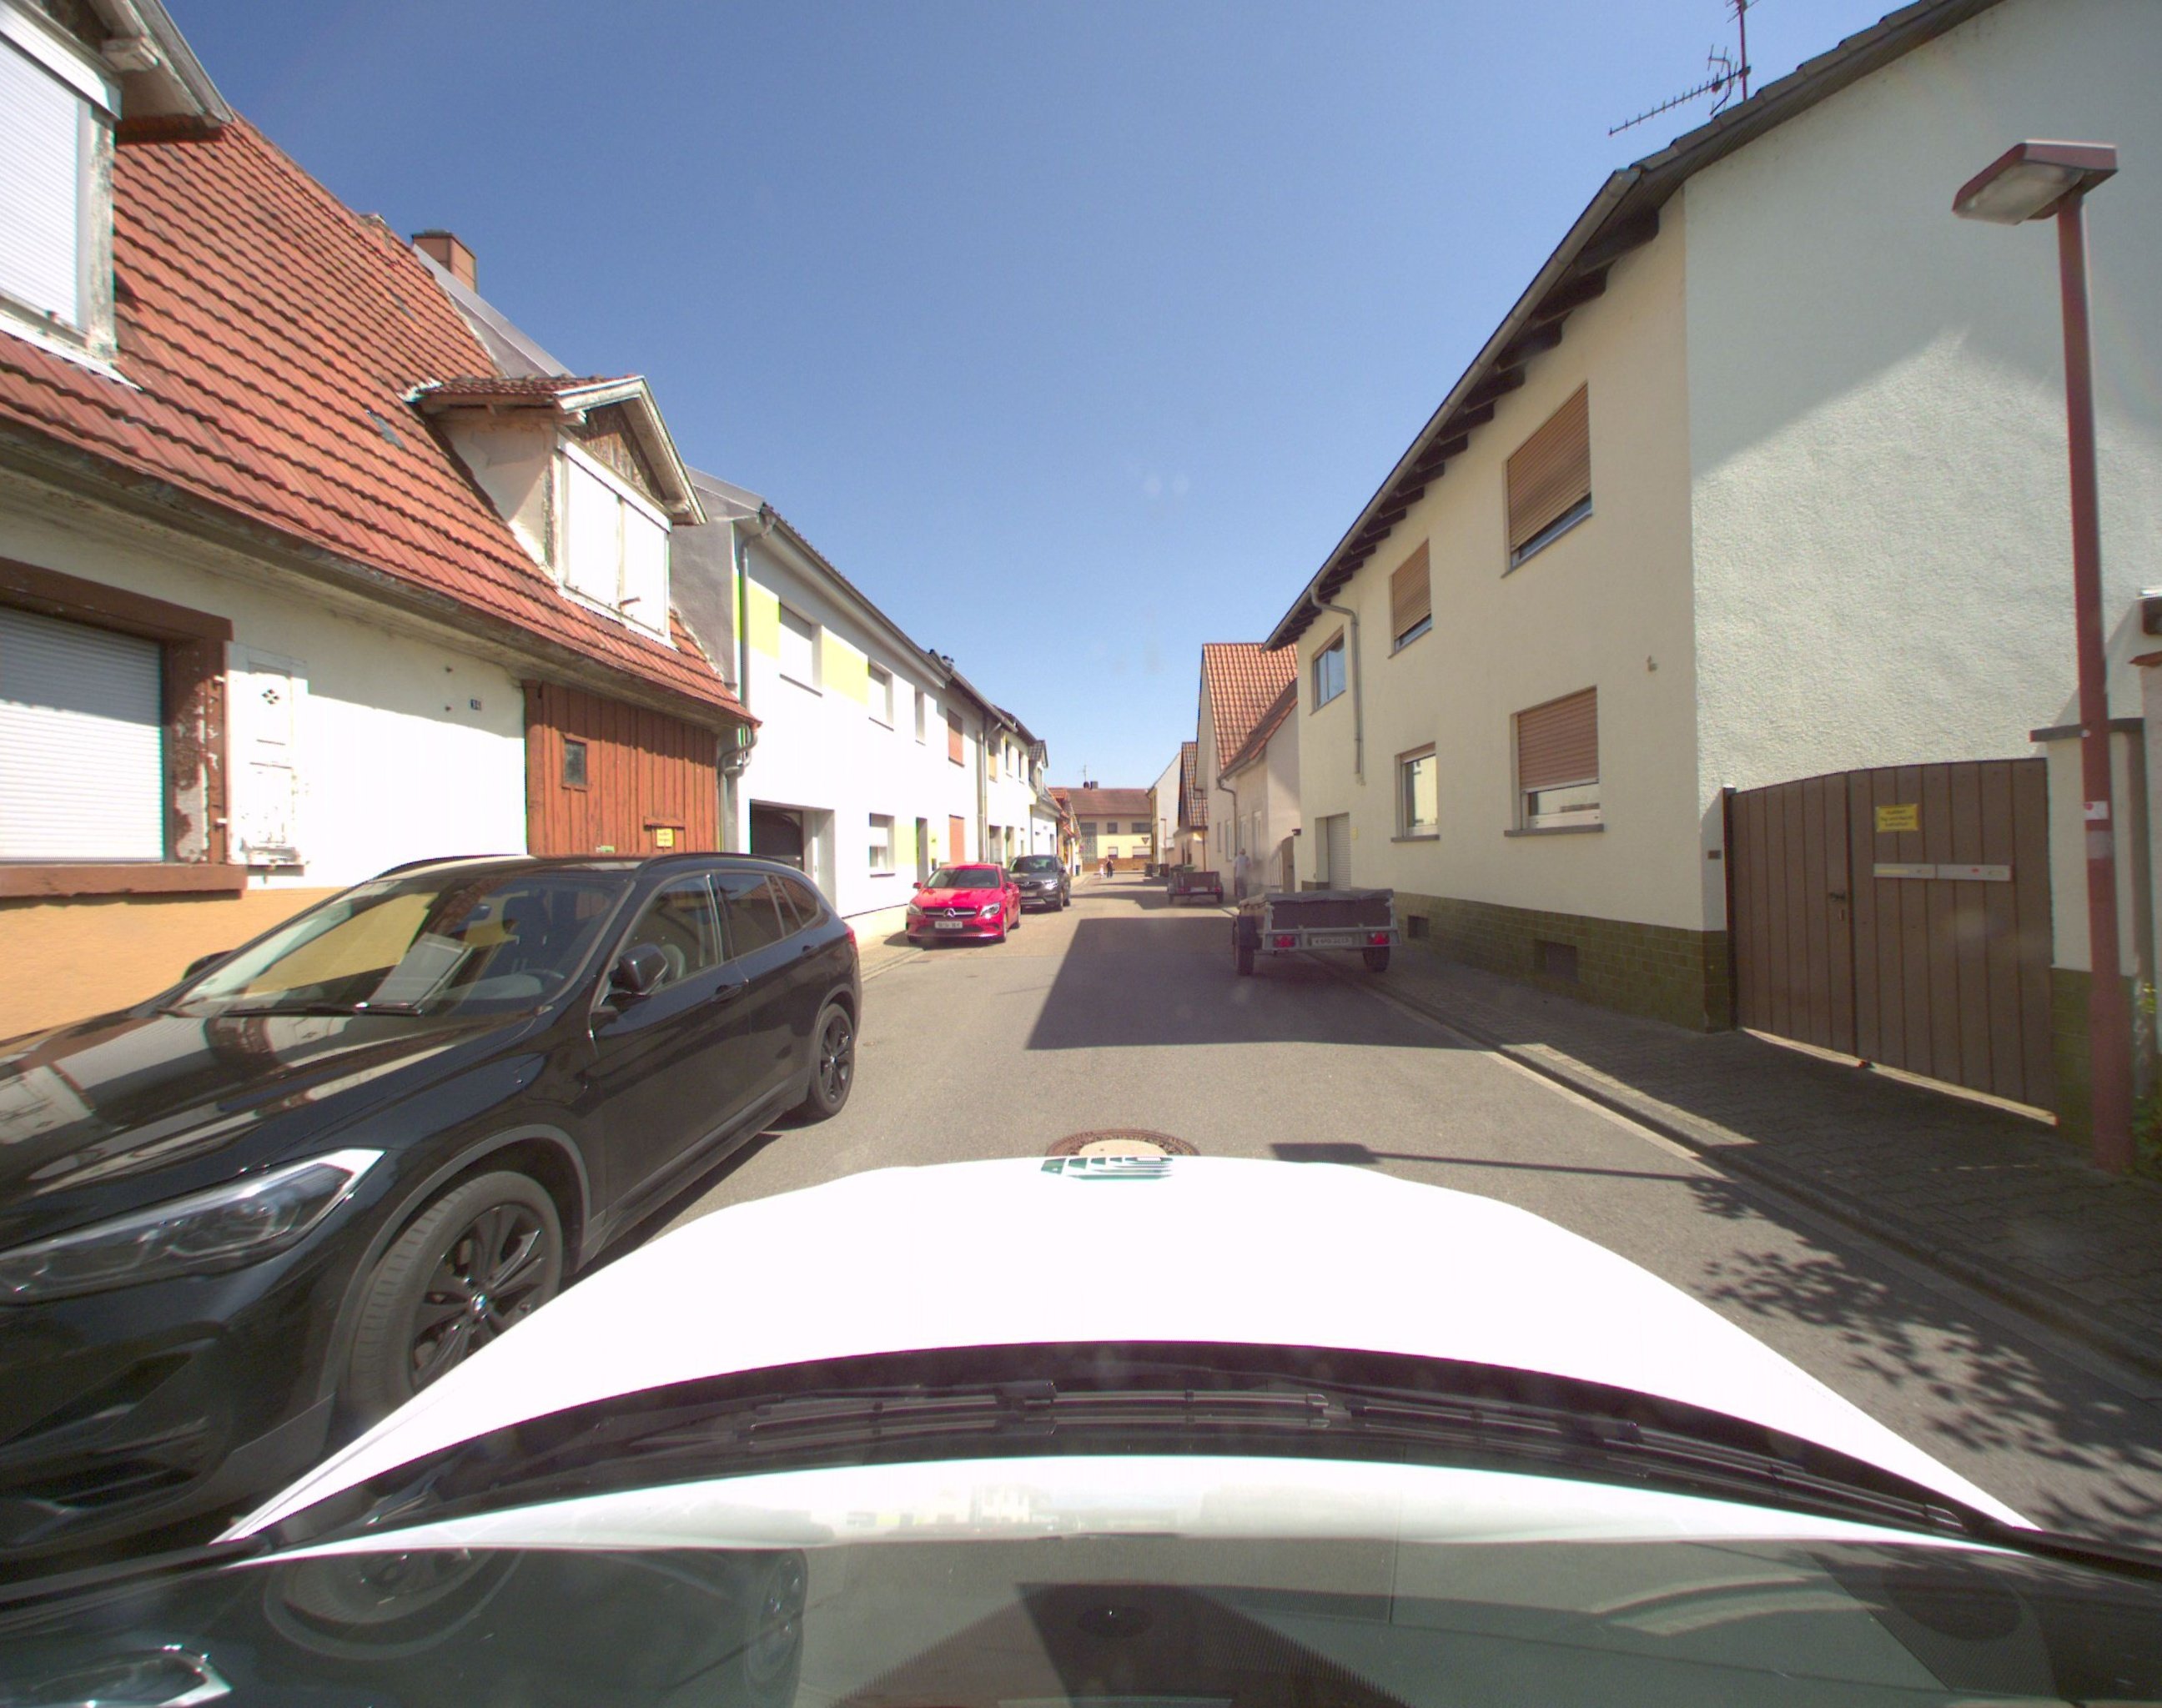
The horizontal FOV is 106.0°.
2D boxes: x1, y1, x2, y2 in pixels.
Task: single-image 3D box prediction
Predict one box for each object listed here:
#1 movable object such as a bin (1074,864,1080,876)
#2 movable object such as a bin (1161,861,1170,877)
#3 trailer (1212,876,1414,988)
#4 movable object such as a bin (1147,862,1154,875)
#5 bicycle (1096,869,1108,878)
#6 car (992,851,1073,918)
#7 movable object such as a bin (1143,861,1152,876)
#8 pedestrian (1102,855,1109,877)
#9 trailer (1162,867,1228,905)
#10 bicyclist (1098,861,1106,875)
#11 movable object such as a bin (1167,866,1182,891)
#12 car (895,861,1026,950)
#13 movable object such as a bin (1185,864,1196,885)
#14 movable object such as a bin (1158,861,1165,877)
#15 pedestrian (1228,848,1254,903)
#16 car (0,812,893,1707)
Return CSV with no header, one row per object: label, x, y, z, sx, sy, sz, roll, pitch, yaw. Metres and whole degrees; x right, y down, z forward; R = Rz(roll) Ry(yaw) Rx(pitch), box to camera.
movable object such as a bin,-0.307,1.322,66.656,0.447,0.921,0.404,-2,-1,0
movable object such as a bin,5.942,1.077,57.309,0.523,1.128,0.366,-2,-1,0
trailer,2.821,0.906,10.657,1.810,1.090,3.484,-1,0,3
movable object such as a bin,5.156,1.073,60.468,0.422,0.975,0.473,-2,-1,0
bicycle,1.493,1.387,58.038,0.443,0.567,0.931,-1,0,-26
car,-1.312,0.824,23.823,1.793,1.704,4.490,-3,-1,3
movable object such as a bin,4.978,1.062,61.083,0.567,1.128,0.453,-2,-1,0
pedestrian,1.793,0.883,58.904,0.411,1.610,0.367,-2,-1,-8
trailer,3.507,0.967,25.570,1.693,1.033,3.483,-1,0,3
bicyclist,1.481,1.017,58.090,0.464,0.959,0.349,-1,-2,-26
movable object such as a bin,4.085,1.067,35.564,0.582,1.033,0.596,-2,-1,1
car,-2.190,0.893,16.035,1.793,1.441,4.488,-2,-1,1
movable object such as a bin,5.656,1.051,41.986,0.456,1.087,0.502,-2,-1,1
movable object such as a bin,5.921,1.101,59.878,0.424,1.128,0.414,-2,-1,0
pedestrian,4.650,0.640,23.710,0.593,1.565,0.557,-1,-4,0
car,-2.403,0.767,3.546,1.792,1.574,4.619,-2,-1,3
